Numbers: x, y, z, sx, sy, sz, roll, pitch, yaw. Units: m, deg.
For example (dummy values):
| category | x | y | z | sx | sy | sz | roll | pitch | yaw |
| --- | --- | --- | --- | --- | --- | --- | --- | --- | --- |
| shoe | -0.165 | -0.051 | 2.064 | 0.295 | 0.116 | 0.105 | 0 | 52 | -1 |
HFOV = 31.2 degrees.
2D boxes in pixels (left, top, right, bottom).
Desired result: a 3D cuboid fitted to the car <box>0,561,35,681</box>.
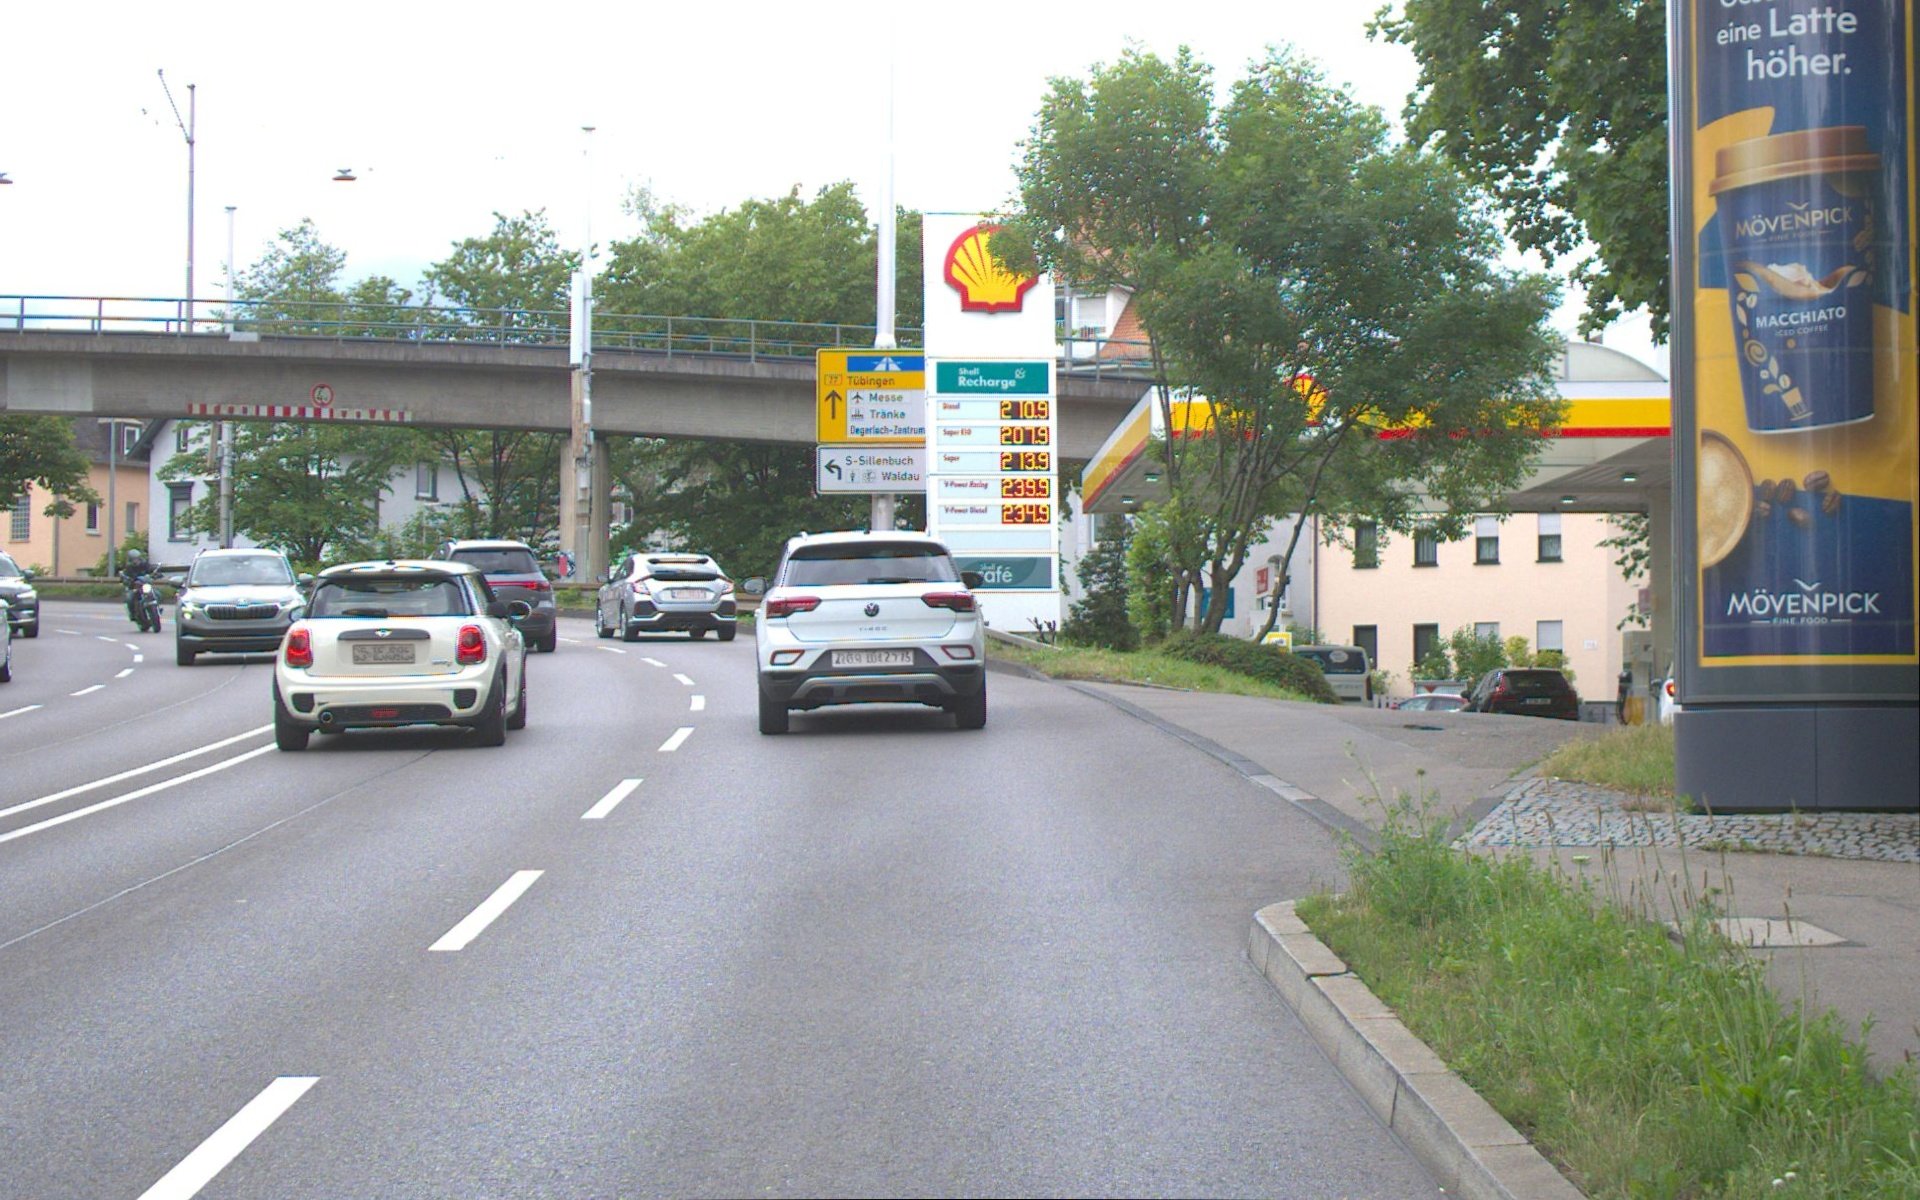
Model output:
| category | x | y | z | sx | sy | sz | roll | pitch | yaw |
| --- | --- | --- | --- | --- | --- | --- | --- | --- | --- |
| car | -12.304 | 0.243 | 41.540 | 1.565 | 1.426 | 3.892 | 0 | 1 | -6 |

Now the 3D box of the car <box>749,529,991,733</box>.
| category | x | y | z | sx | sy | sz | roll | pitch | yaw |
| --- | --- | --- | --- | --- | --- | --- | --- | --- | --- |
| car | -0.690 | 0.211 | 27.395 | 1.797 | 1.514 | 3.457 | 1 | 1 | -1 |

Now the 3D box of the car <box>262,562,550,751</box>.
| category | x | y | z | sx | sy | sz | roll | pitch | yaw |
| --- | --- | --- | --- | --- | --- | --- | --- | --- | --- |
| car | -4.268 | 0.393 | 26.947 | 1.722 | 1.371 | 3.457 | 1 | 1 | -1 |

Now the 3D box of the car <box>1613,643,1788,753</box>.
| category | x | y | z | sx | sy | sz | roll | pitch | yaw |
| --- | --- | --- | --- | --- | --- | --- | --- | --- | --- |
| car | 10.639 | 1.446 | 49.630 | 1.735 | 1.481 | 3.877 | -1 | -3 | 1 |

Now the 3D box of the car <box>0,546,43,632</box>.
| category | x | y | z | sx | sy | sz | roll | pitch | yaw |
| --- | --- | --- | --- | --- | --- | --- | --- | --- | --- |
| car | -18.538 | -0.223 | 65.639 | 1.784 | 1.570 | 4.469 | -2 | 1 | -17 |

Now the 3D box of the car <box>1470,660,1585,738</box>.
| category | x | y | z | sx | sy | sz | roll | pitch | yaw |
| --- | --- | --- | --- | --- | --- | --- | --- | --- | --- |
| car | 11.446 | 2.033 | 69.585 | 1.735 | 1.481 | 3.877 | -1 | -3 | 1 |

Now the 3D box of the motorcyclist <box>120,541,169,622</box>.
| category | x | y | z | sx | sy | sz | roll | pitch | yaw |
| --- | --- | --- | --- | --- | --- | --- | --- | --- | --- |
| motorcyclist | -15.778 | -0.359 | 66.487 | 0.800 | 1.550 | 1.000 | 0 | 1 | -21 |

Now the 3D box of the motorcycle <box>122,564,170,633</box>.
| category | x | y | z | sx | sy | sz | roll | pitch | yaw |
| --- | --- | --- | --- | --- | --- | --- | --- | --- | --- |
| motorcycle | -15.779 | -0.040 | 66.634 | 0.590 | 1.300 | 2.458 | 0 | 1 | -21 |

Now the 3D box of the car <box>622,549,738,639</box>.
| category | x | y | z | sx | sy | sz | roll | pitch | yaw |
| --- | --- | --- | --- | --- | --- | --- | --- | --- | --- |
| car | -4.545 | -0.115 | 55.436 | 1.675 | 1.404 | 3.457 | 0 | 1 | -8 |

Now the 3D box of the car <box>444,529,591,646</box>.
| category | x | y | z | sx | sy | sz | roll | pitch | yaw |
| --- | --- | --- | --- | --- | --- | --- | --- | --- | --- |
| car | -6.425 | -0.201 | 50.218 | 1.722 | 1.634 | 3.457 | 1 | 1 | -1 |

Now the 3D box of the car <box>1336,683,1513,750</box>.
| category | x | y | z | sx | sy | sz | roll | pitch | yaw |
| --- | --- | --- | --- | --- | --- | --- | --- | --- | --- |
| car | 12.384 | 3.098 | 91.698 | 4.296 | 1.516 | 1.621 | 3 | -2 | 27 |

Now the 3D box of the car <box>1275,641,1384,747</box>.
| category | x | y | z | sx | sy | sz | roll | pitch | yaw |
| --- | --- | --- | --- | --- | --- | --- | --- | --- | --- |
| car | 7.344 | 1.920 | 68.714 | 1.735 | 2.004 | 4.712 | -1 | -3 | 1 |

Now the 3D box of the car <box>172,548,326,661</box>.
| category | x | y | z | sx | sy | sz | roll | pitch | yaw |
| --- | --- | --- | --- | --- | --- | --- | --- | --- | --- |
| car | -10.104 | 0.031 | 49.103 | 1.785 | 1.533 | 4.076 | 0 | 1 | -6 |
